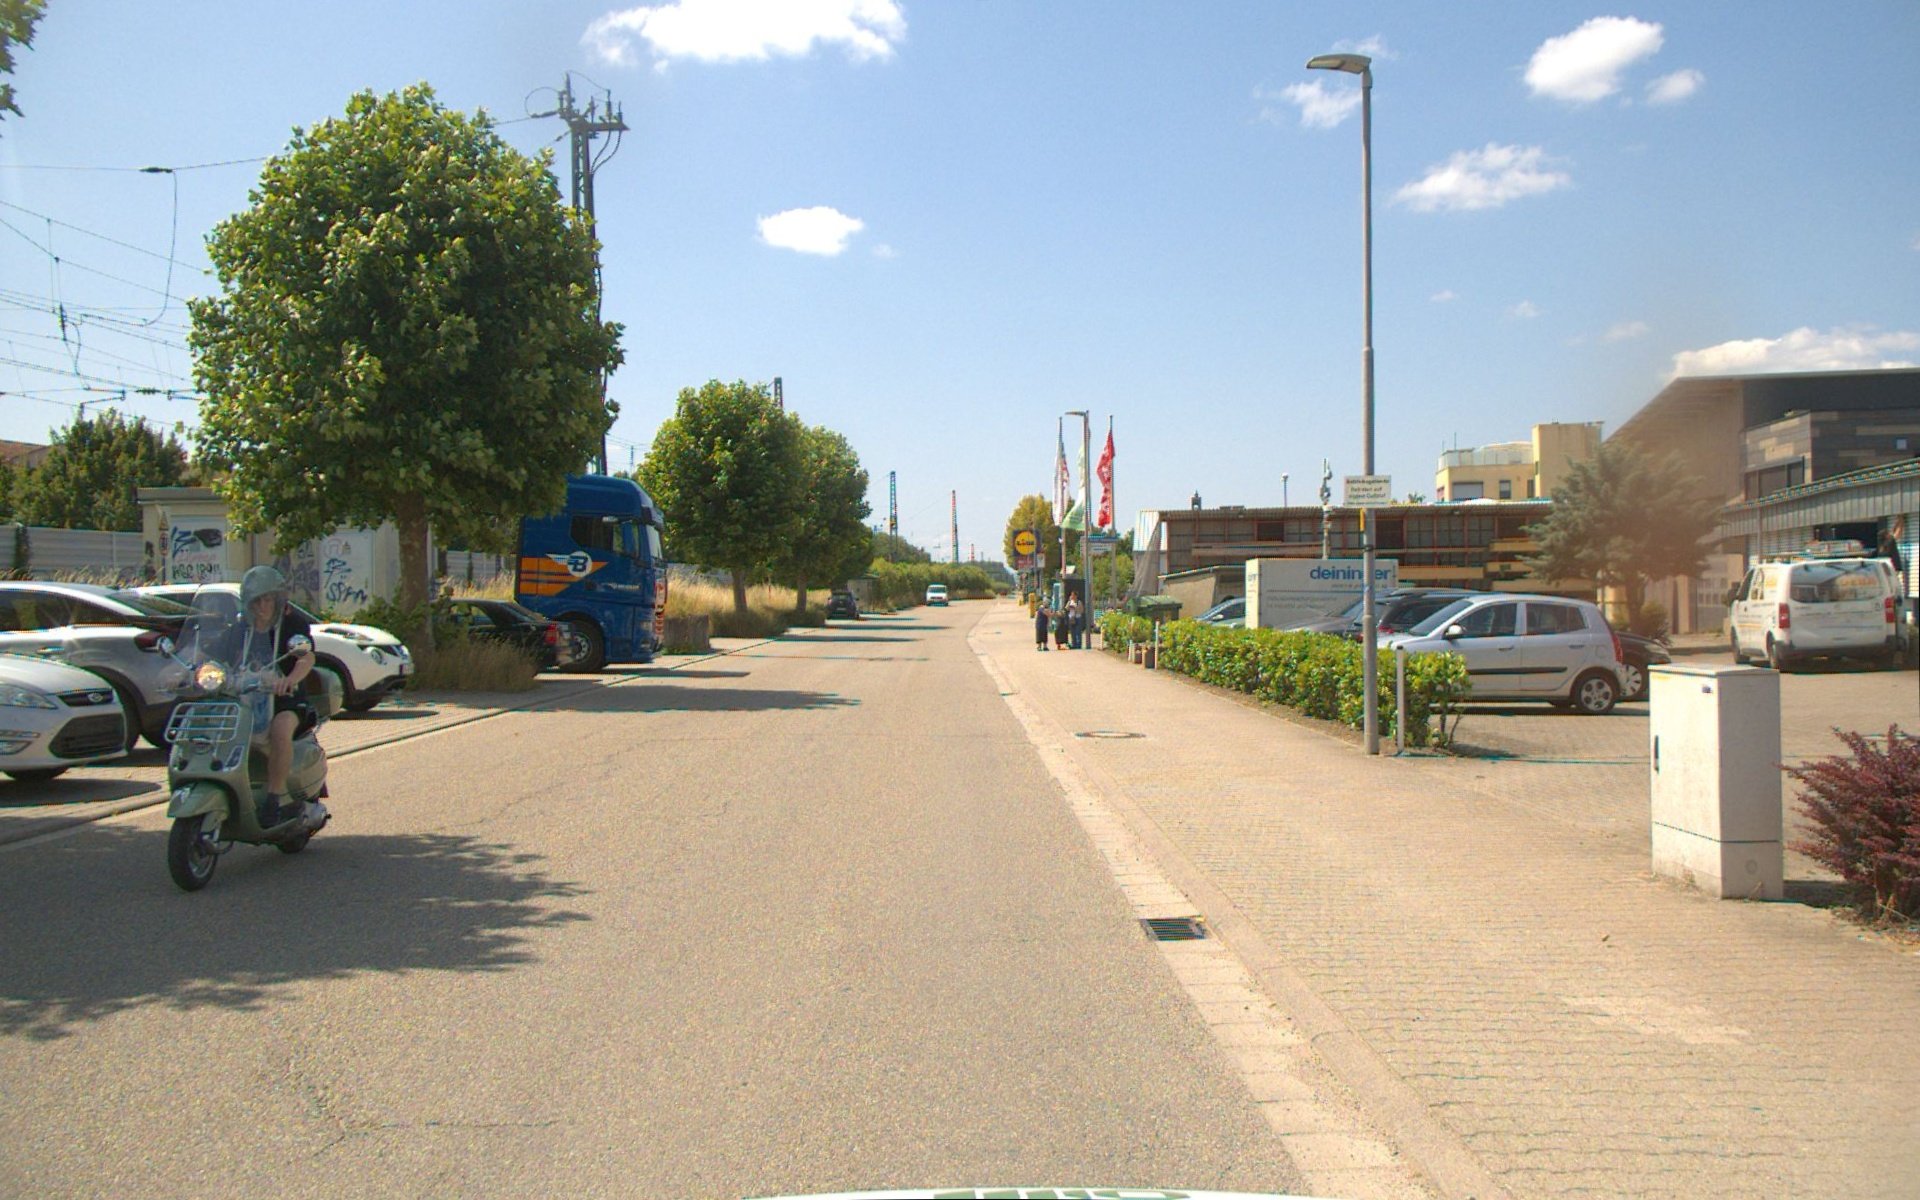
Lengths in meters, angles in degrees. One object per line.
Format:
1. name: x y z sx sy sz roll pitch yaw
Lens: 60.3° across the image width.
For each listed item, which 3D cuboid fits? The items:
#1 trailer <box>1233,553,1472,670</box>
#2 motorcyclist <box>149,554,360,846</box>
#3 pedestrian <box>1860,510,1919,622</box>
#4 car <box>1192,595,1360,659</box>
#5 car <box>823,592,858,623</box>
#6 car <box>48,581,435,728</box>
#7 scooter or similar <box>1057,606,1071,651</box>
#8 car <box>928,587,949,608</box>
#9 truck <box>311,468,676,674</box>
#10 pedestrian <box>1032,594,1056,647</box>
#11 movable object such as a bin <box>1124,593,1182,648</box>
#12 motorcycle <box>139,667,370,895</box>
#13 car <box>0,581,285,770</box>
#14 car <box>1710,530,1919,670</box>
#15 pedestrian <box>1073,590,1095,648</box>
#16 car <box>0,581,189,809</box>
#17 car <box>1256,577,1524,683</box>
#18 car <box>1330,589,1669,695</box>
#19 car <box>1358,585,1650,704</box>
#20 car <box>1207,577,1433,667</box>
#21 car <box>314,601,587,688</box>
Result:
1. trailer: 7.166 0.202 30.491 3.906 2.049 1.999 0 0 -2
2. motorcyclist: -3.896 0.527 9.201 0.759 1.535 0.921 0 0 1
3. pedestrian: 16.868 -0.612 29.909 0.701 1.977 0.690 -2 -2 -2
4. car: 7.634 0.641 40.230 3.766 1.481 1.817 0 0 0
5. car: -6.596 0.409 91.644 1.706 1.624 3.579 0 1 -1
6. car: -8.624 0.618 20.144 3.891 1.646 1.849 -1 0 -4
7. scooter or similar: 2.891 0.798 45.990 0.327 1.219 0.397 -2 -2 0
8. car: -1.951 -0.227 148.660 1.800 1.890 4.484 0 0 0
9. truck: -9.094 -0.567 32.834 6.481 3.890 2.663 0 0 -2
10. pedestrian: 2.339 0.568 45.964 0.582 1.430 0.584 -2 -2 -1
11. movable object such as a bin: 5.335 0.563 45.717 1.254 1.484 1.035 0 0 -38
12. motorcycle: -3.883 0.947 9.264 0.454 1.069 1.955 0 0 0
13. car: -8.453 0.645 14.913 3.907 1.575 1.999 0 0 -2
14. car: 15.058 -0.001 29.393 2.056 2.162 4.720 -4 -1 12
15. pedestrian: 3.431 0.533 45.838 0.524 1.567 0.510 -2 -2 -1
16. car: -8.294 0.641 12.242 4.249 1.559 1.926 0 1 -1
17. car: 7.126 0.504 27.610 3.956 1.602 1.712 -2 -2 -6
18. car: 7.854 0.586 24.314 4.386 1.465 1.814 0 0 -4
19. car: 7.085 0.556 21.792 3.283 1.426 1.770 -1 0 2
20. car: 7.261 0.457 33.634 4.127 1.662 1.800 -2 -2 -2
21. car: -8.693 0.740 28.496 4.124 1.419 1.871 0 0 -2
